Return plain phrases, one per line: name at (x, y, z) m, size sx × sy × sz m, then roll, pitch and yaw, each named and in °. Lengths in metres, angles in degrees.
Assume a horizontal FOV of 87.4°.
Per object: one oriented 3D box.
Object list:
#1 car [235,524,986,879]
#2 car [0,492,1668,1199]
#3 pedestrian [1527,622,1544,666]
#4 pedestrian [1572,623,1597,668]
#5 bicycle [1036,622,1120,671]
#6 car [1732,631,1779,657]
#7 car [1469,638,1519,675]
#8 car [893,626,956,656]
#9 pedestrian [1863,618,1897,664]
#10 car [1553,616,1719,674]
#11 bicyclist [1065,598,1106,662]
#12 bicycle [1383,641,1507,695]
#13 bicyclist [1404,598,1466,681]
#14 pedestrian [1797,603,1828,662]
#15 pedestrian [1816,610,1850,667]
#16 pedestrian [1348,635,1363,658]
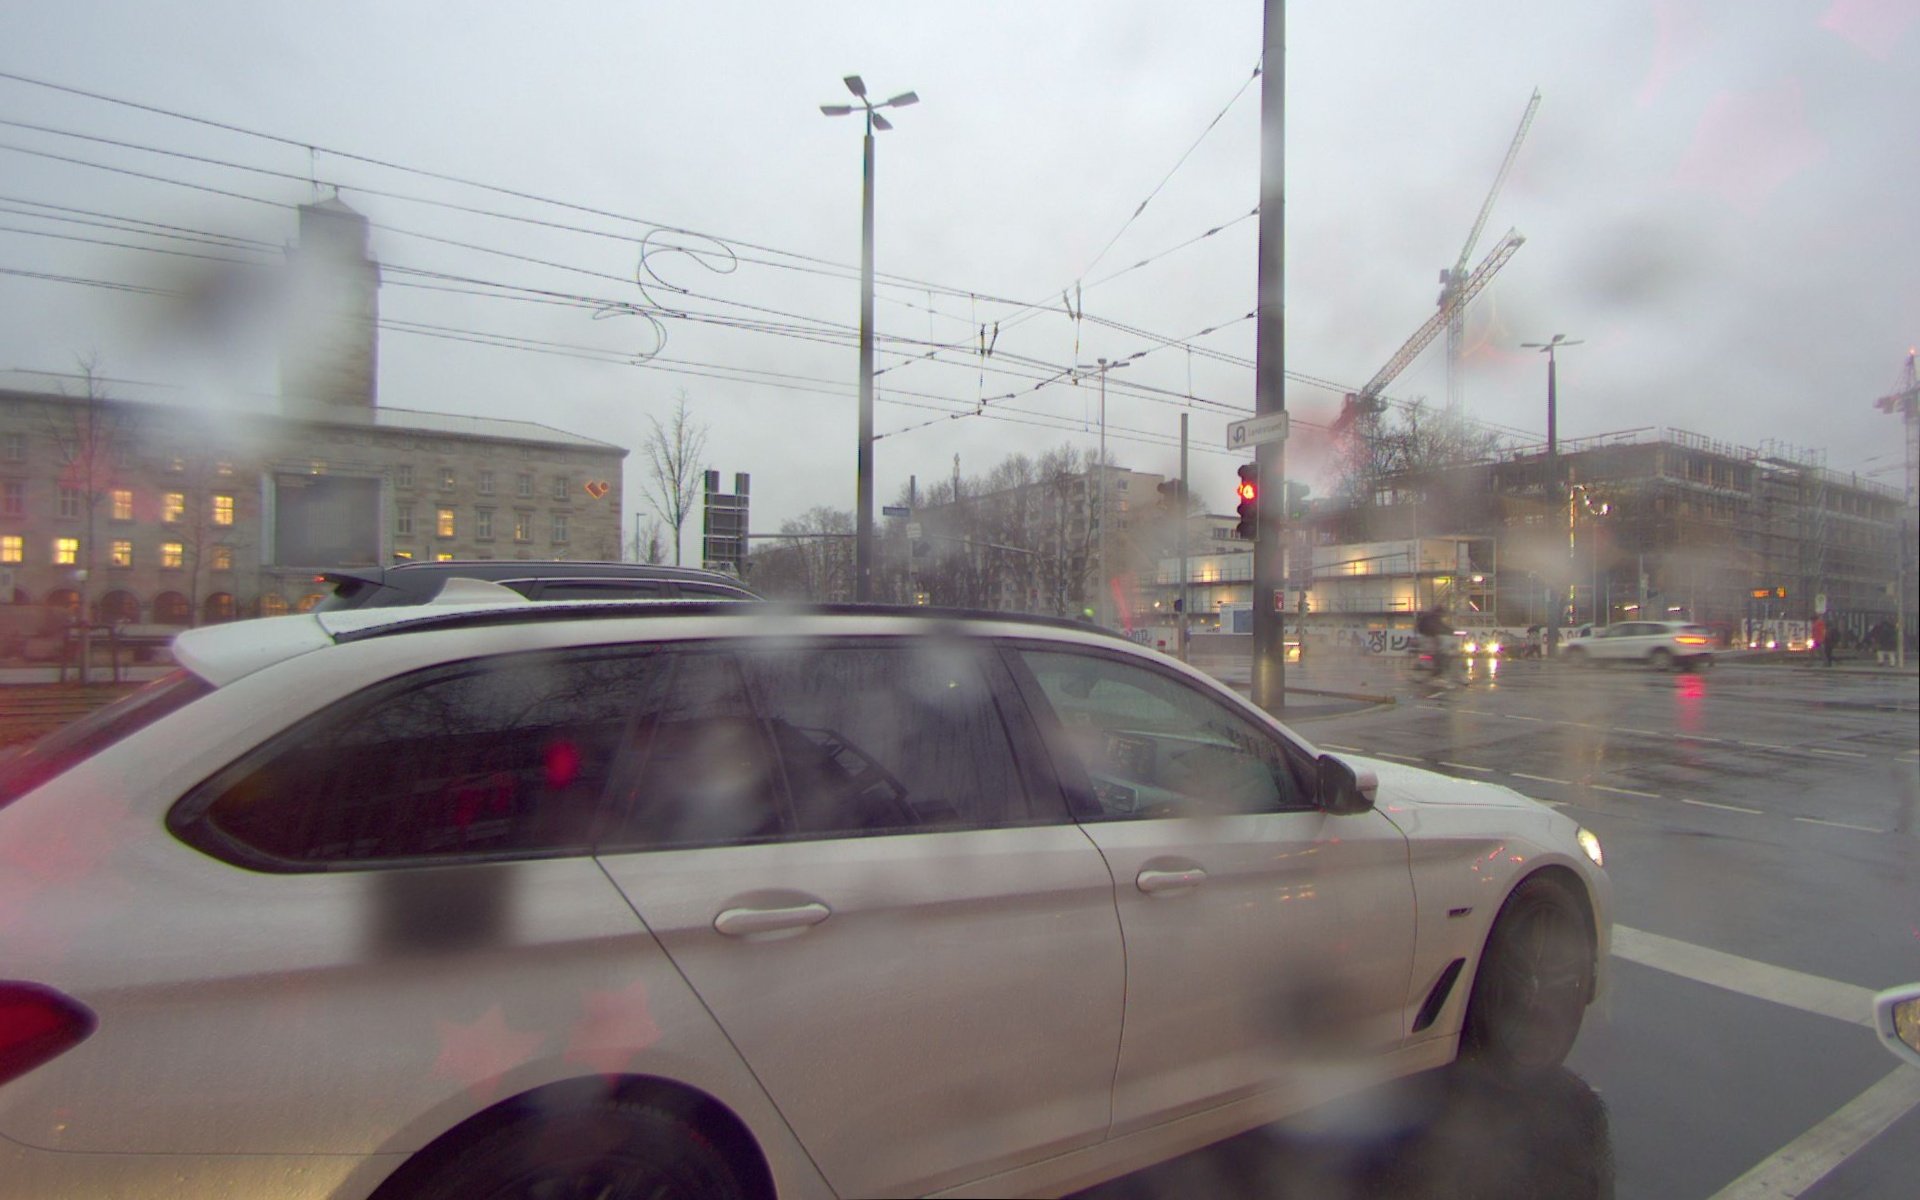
car at (-2.159, 0.577, 6.991) m, size 4.564 × 1.766 × 1.692 m, roll 2°, pitch -2°, yaw -34°
car at (-0.106, 0.700, 3.005) m, size 4.868 × 1.540 × 1.900 m, roll 2°, pitch -2°, yaw -32°
pedestrian at (27.289, 2.081, 47.605) m, size 0.635 × 2.040 × 0.503 m, roll 2°, pitch -2°, yaw -40°
pedestrian at (28.704, 2.063, 46.185) m, size 0.741 × 2.040 × 0.785 m, roll 2°, pitch -2°, yaw -40°
bicycle at (3.468, 1.378, 29.818) m, size 0.714 × 1.380 × 2.809 m, roll 2°, pitch -3°, yaw -38°
car at (65.967, 3.640, 83.304) m, size 3.958 × 2.040 × 1.981 m, roll 2°, pitch -2°, yaw -34°
car at (31.201, 3.241, 58.681) m, size 1.736 × 2.040 × 3.980 m, roll -1°, pitch -2°, yaw 41°
car at (-2.115, 2.423, 59.337) m, size 1.978 × 1.706 × 3.965 m, roll 1°, pitch -2°, yaw -33°
pedestrian at (33.533, 1.498, 36.618) m, size 0.670 × 1.640 × 0.705 m, roll 1°, pitch -1°, yaw -21°
car at (22.295, 1.445, 33.305) m, size 1.687 × 1.785 × 4.283 m, roll 1°, pitch -2°, yaw -30°
bicyclist at (3.682, 0.890, 29.577) m, size 0.715 × 1.863 × 0.986 m, roll 2°, pitch -2°, yaw -39°
bicycle at (10.194, 1.404, 21.191) m, size 0.612 × 1.046 × 2.356 m, roll 2°, pitch -2°, yaw -36°
bicyclist at (10.092, 0.839, 21.363) m, size 0.612 × 1.719 × 1.026 m, roll 2°, pitch -2°, yaw -36°
pedestrian at (30.953, 1.185, 36.478) m, size 0.674 × 2.115 × 0.613 m, roll 0°, pitch -1°, yaw 20°
pedestrian at (31.874, 1.410, 36.691) m, size 0.762 × 2.040 × 0.613 m, roll 0°, pitch -1°, yaw 22°
pedestrian at (27.257, 3.201, 69.205) m, size 0.783 × 1.549 × 0.644 m, roll -1°, pitch -2°, yaw 36°
